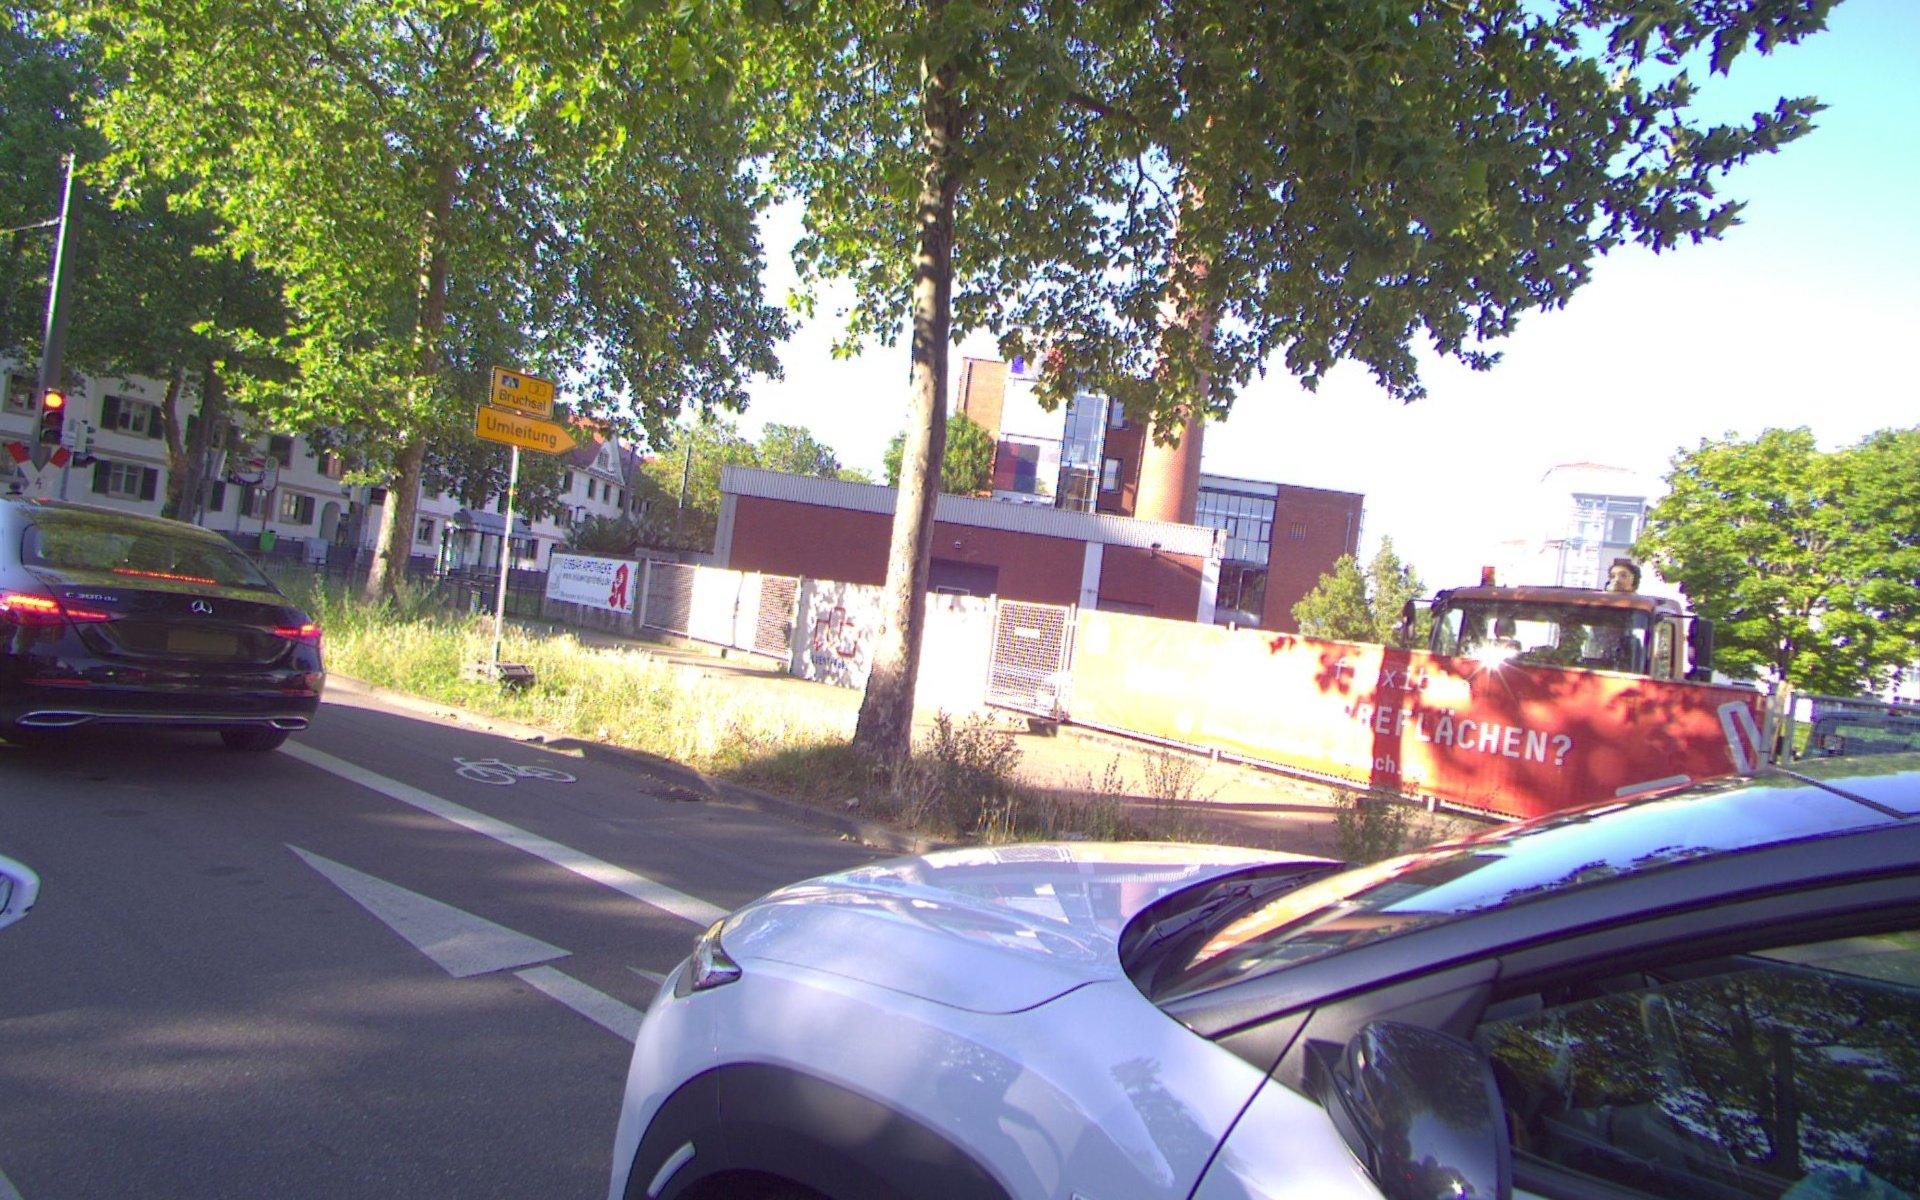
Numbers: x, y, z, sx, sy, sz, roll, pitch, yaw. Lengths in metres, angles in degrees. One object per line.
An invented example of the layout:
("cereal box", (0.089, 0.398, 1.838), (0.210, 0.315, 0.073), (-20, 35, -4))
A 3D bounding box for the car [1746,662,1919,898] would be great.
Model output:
("car", (9.577, 1.825, 10.150), (2.016, 1.849, 4.583), (6, -3, 44))

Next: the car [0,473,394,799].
("car", (-5.961, 0.017, 6.683), (4.308, 1.508, 1.893), (9, -1, 32))

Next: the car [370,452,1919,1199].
("car", (1.221, 0.918, 1.334), (3.901, 1.616, 1.893), (9, -1, 33))

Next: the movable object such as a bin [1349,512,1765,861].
("movable object such as a bin", (7.649, 1.035, 12.407), (3.172, 3.084, 6.266), (6, -2, 41))

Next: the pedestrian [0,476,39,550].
("pedestrian", (-26.516, -2.431, 28.133), (0.825, 1.940, 0.707), (7, -1, 28))

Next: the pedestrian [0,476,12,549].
("pedestrian", (-26.114, -2.395, 26.914), (0.825, 1.940, 0.707), (7, -1, 28))
